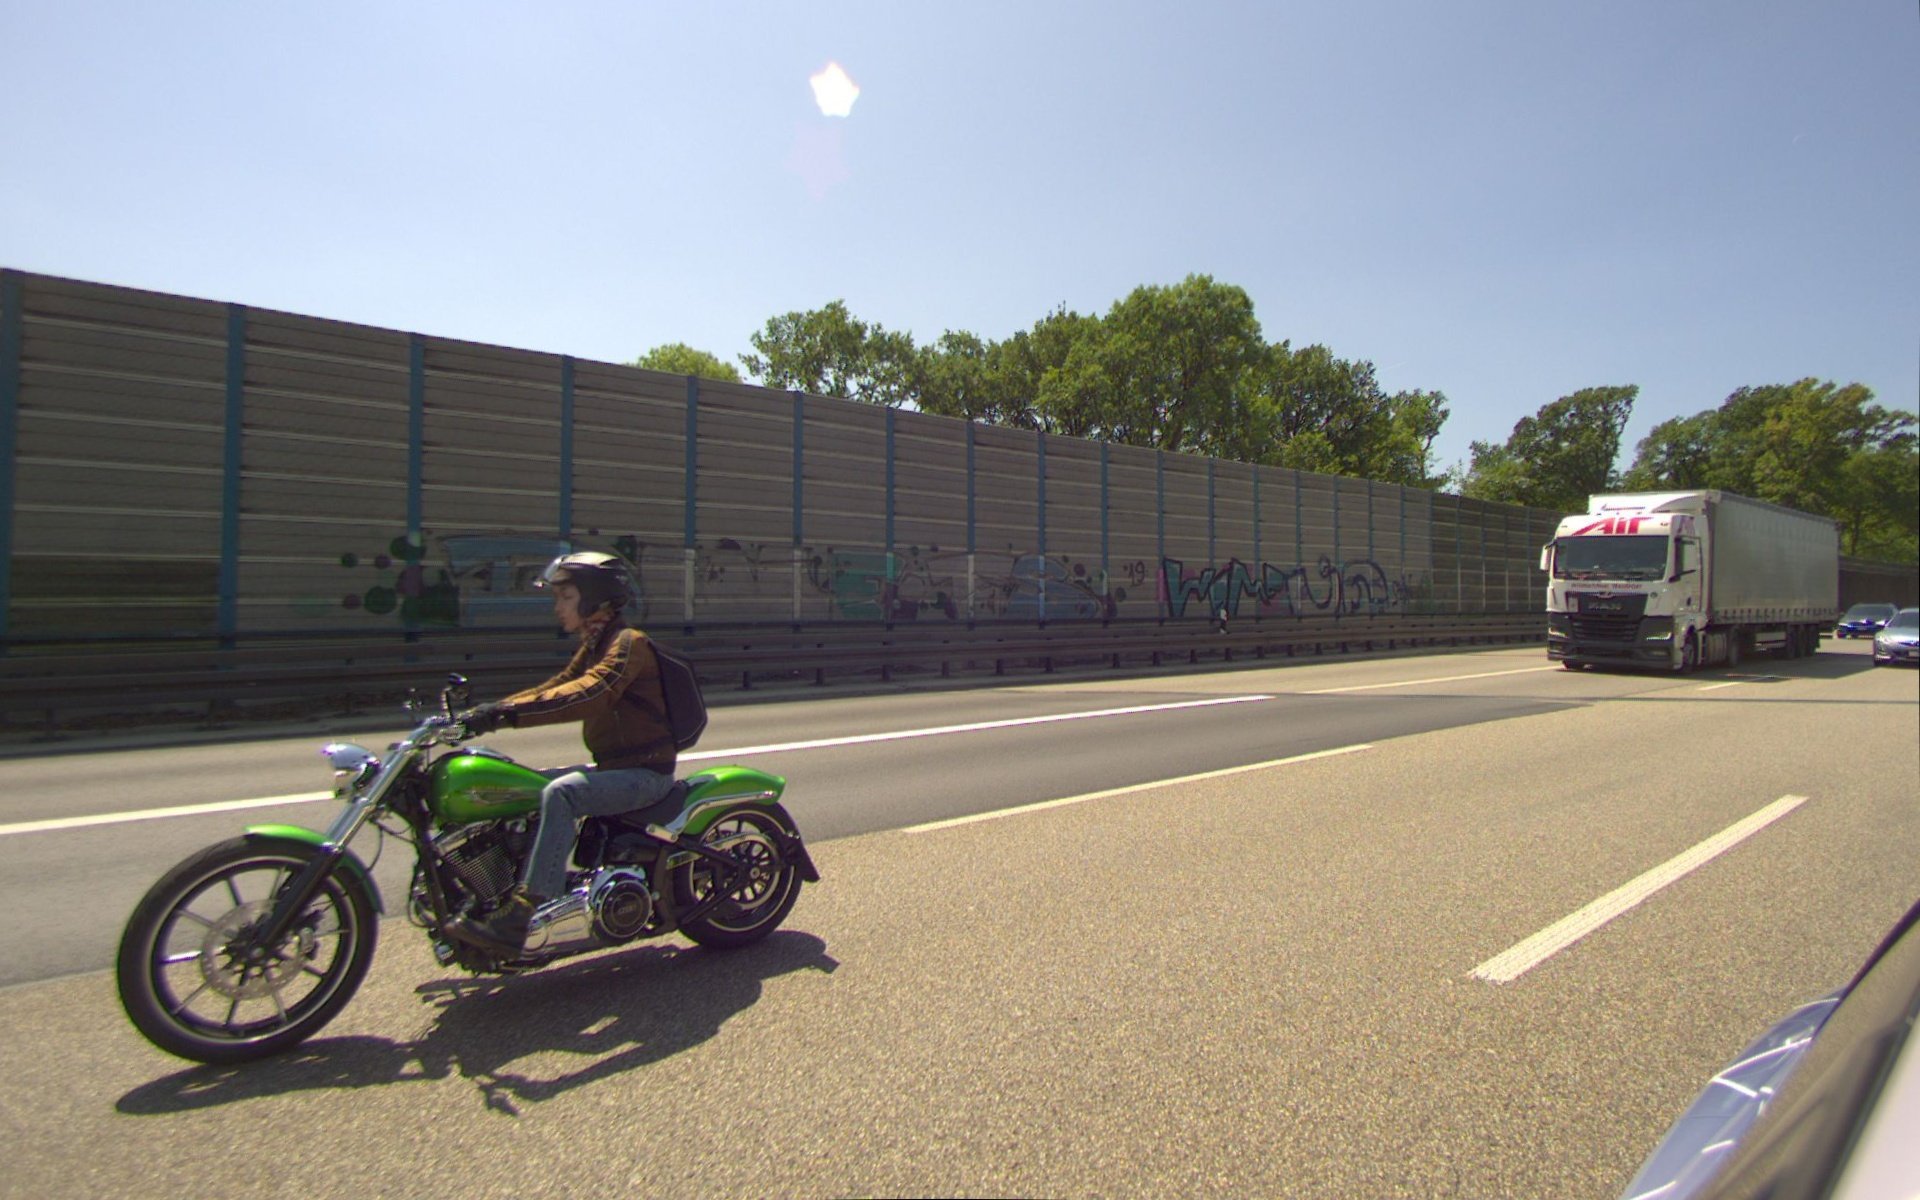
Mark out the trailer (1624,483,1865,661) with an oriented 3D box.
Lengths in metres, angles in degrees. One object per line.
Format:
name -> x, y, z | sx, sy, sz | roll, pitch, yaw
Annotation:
trailer -> 22.718, -0.710, 28.814 | 13.349, 4.142, 2.604 | 0, 0, -40

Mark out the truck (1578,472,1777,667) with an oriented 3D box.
truck -> 17.289, -0.684, 24.283 | 5.454, 4.142, 2.604 | 0, 0, -40

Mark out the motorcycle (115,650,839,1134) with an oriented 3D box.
motorcycle -> -1.633, 0.830, 3.738 | 2.235, 1.197, 0.862 | 1, 0, -38

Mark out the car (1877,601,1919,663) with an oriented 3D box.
car -> 24.248, 0.761, 24.820 | 4.099, 1.452, 1.861 | 0, 0, -37

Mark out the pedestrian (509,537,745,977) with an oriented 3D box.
pedestrian -> -1.326, 0.533, 3.981 | 0.626, 1.497, 0.854 | 1, -1, -38

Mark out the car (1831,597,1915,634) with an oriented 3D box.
car -> 38.365, 0.628, 42.511 | 4.099, 1.512, 1.861 | 0, 0, -37
